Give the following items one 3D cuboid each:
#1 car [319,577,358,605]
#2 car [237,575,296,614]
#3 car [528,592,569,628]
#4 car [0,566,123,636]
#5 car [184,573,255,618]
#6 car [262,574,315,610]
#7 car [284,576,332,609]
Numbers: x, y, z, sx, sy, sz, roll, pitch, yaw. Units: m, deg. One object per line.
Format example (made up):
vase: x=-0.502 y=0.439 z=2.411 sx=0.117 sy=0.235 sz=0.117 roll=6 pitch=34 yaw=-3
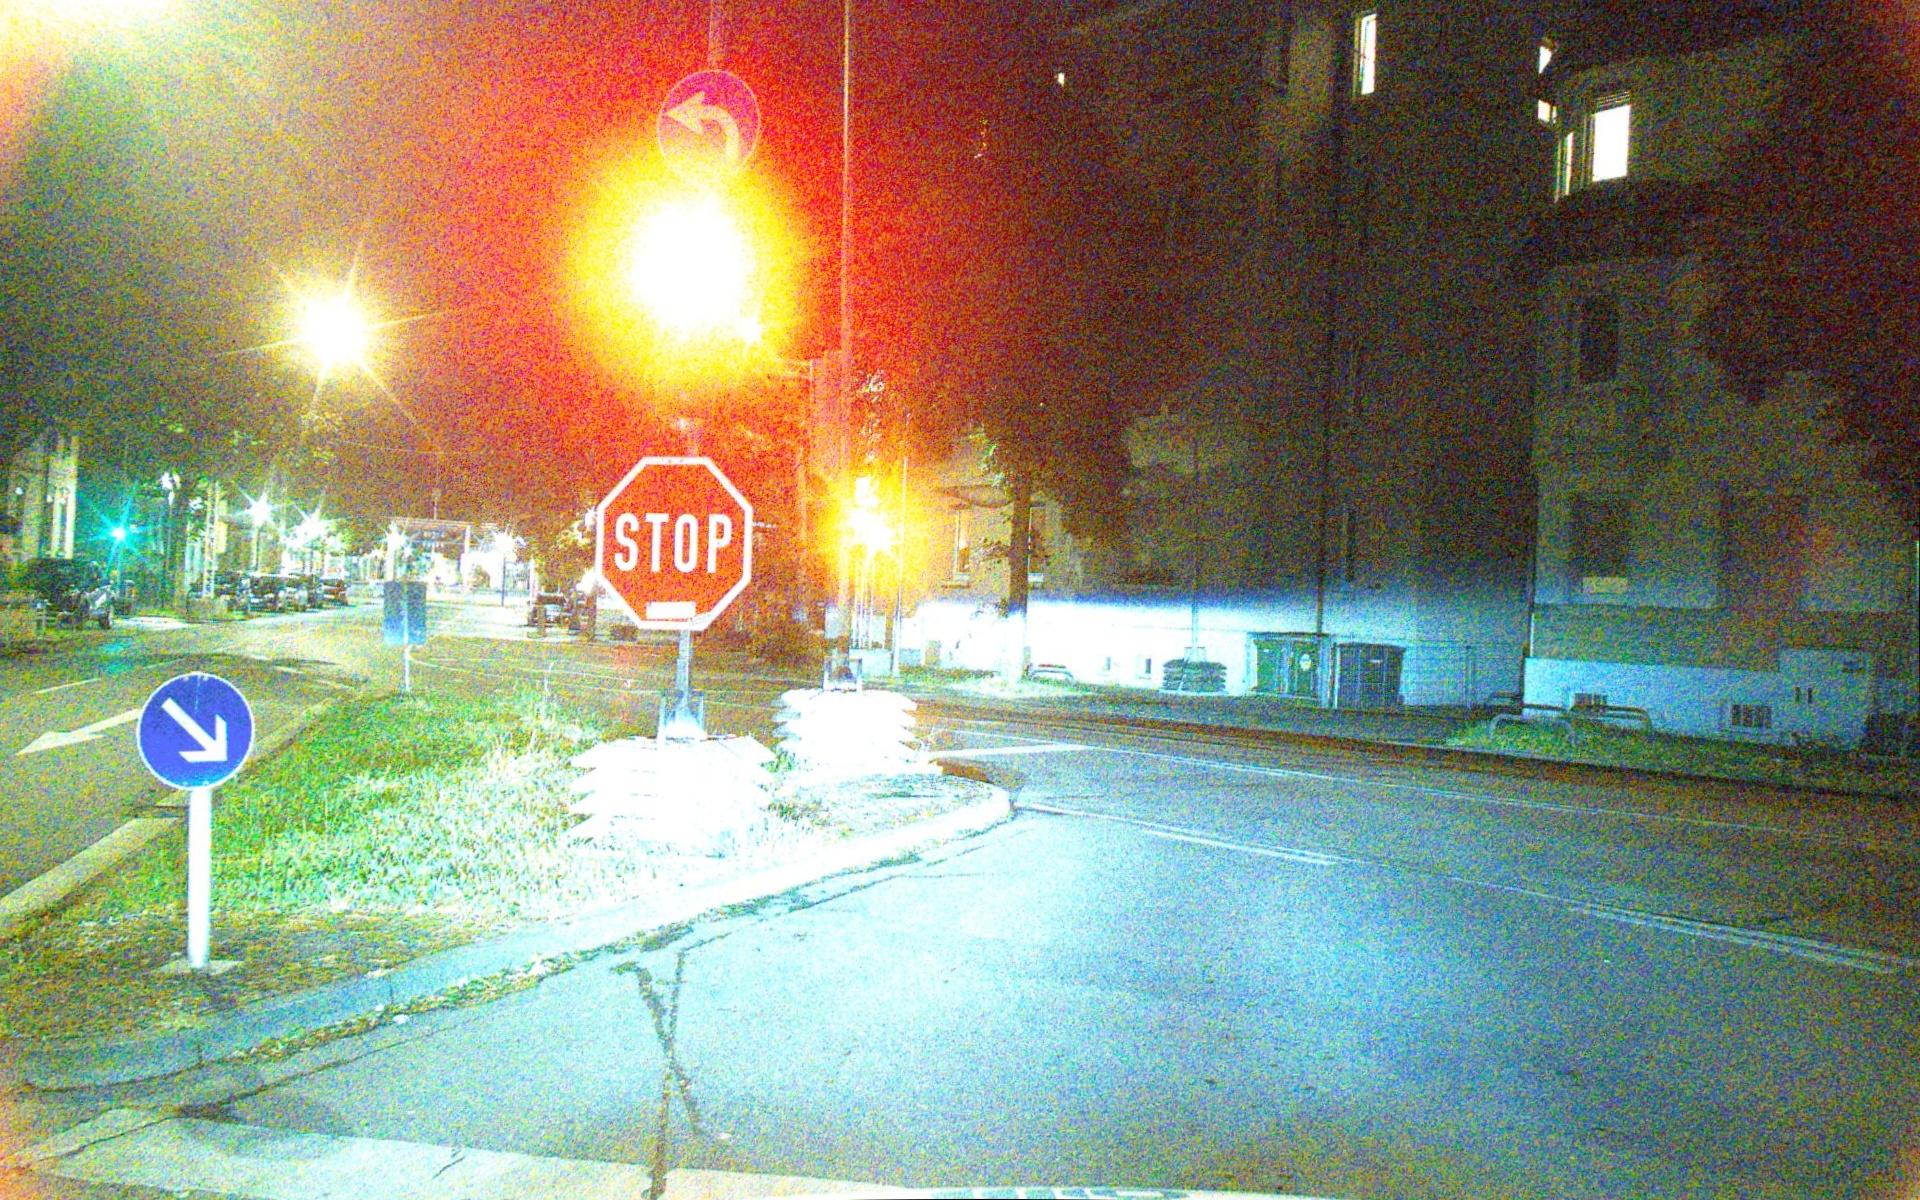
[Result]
car: x=-34.453 y=-0.477 z=91.728 sx=1.624 sy=1.456 sz=3.983 roll=2 pitch=0 yaw=-16
car: x=-27.678 y=-0.214 z=66.080 sx=1.624 sy=1.456 sz=3.983 roll=2 pitch=0 yaw=-16
car: x=-17.793 y=0.428 z=71.607 sx=1.623 sy=1.456 sz=3.985 roll=2 pitch=0 yaw=-14
car: x=-20.265 y=0.016 z=37.349 sx=1.624 sy=1.456 sz=3.983 roll=2 pitch=0 yaw=-16
car: x=-25.936 y=-0.166 z=58.021 sx=1.624 sy=1.456 sz=3.983 roll=2 pitch=0 yaw=-16
car: x=-29.221 y=-0.350 z=72.019 sx=1.624 sy=1.456 sz=3.983 roll=2 pitch=0 yaw=-16
car: x=-30.922 y=-0.350 z=78.510 sx=1.624 sy=1.456 sz=3.983 roll=2 pitch=0 yaw=-16
